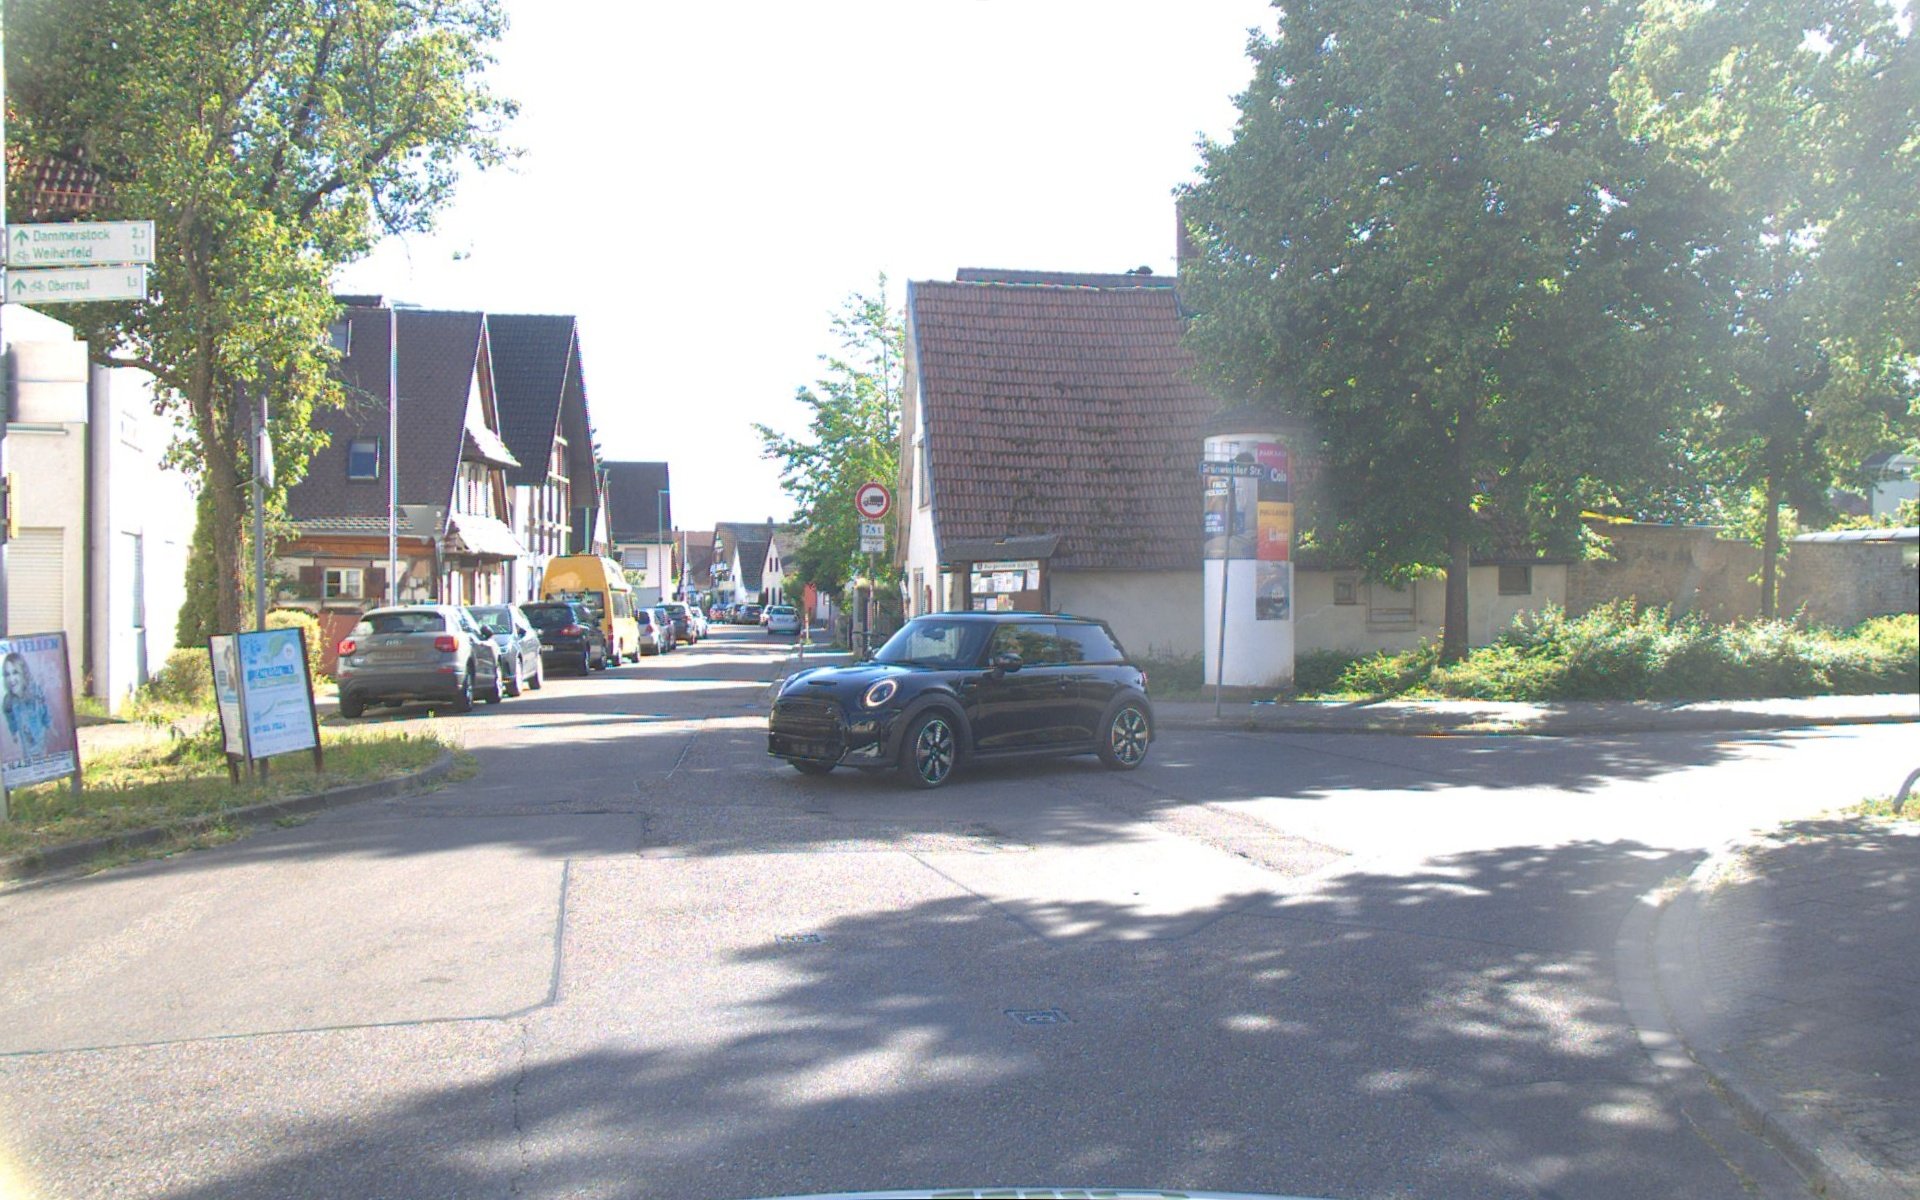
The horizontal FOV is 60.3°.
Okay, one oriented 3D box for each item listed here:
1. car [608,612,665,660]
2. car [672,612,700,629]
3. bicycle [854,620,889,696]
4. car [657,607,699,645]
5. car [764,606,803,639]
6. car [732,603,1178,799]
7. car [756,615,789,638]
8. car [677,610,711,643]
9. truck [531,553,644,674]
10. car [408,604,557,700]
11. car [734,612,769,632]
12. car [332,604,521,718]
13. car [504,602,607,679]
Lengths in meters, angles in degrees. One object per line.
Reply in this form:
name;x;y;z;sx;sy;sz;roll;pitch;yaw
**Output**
car;-10.164;1.104;52.192;1.615;1.458;3.607;0;-1;-9
car;-26.013;1.937;156.813;1.944;1.610;3.971;0;-1;-20
bicycle;-1.446;0.931;27.199;0.424;1.197;1.829;0;0;1
car;-11.092;1.014;65.275;1.559;1.468;3.607;0;-1;-9
car;-9.644;1.231;90.311;1.937;1.744;3.986;0;-1;-9
car;0.062;0.787;14.745;3.968;1.503;1.639;0;0;-44
car;-13.639;1.921;120.196;1.939;1.610;3.981;0;-1;-13
car;-12.419;1.228;77.284;1.559;1.468;3.607;0;-1;-9
truck;-9.623;0.371;43.180;2.224;2.919;5.774;0;-1;-6
car;-8.207;0.867;28.751;1.772;1.532;4.102;0;-1;-6
car;-16.728;1.750;132.372;1.944;1.610;3.971;0;-1;-20
car;-7.741;0.853;24.389;1.831;1.532;4.102;0;-1;-6
car;-9.138;0.911;37.625;1.772;1.650;3.875;0;-1;-6
